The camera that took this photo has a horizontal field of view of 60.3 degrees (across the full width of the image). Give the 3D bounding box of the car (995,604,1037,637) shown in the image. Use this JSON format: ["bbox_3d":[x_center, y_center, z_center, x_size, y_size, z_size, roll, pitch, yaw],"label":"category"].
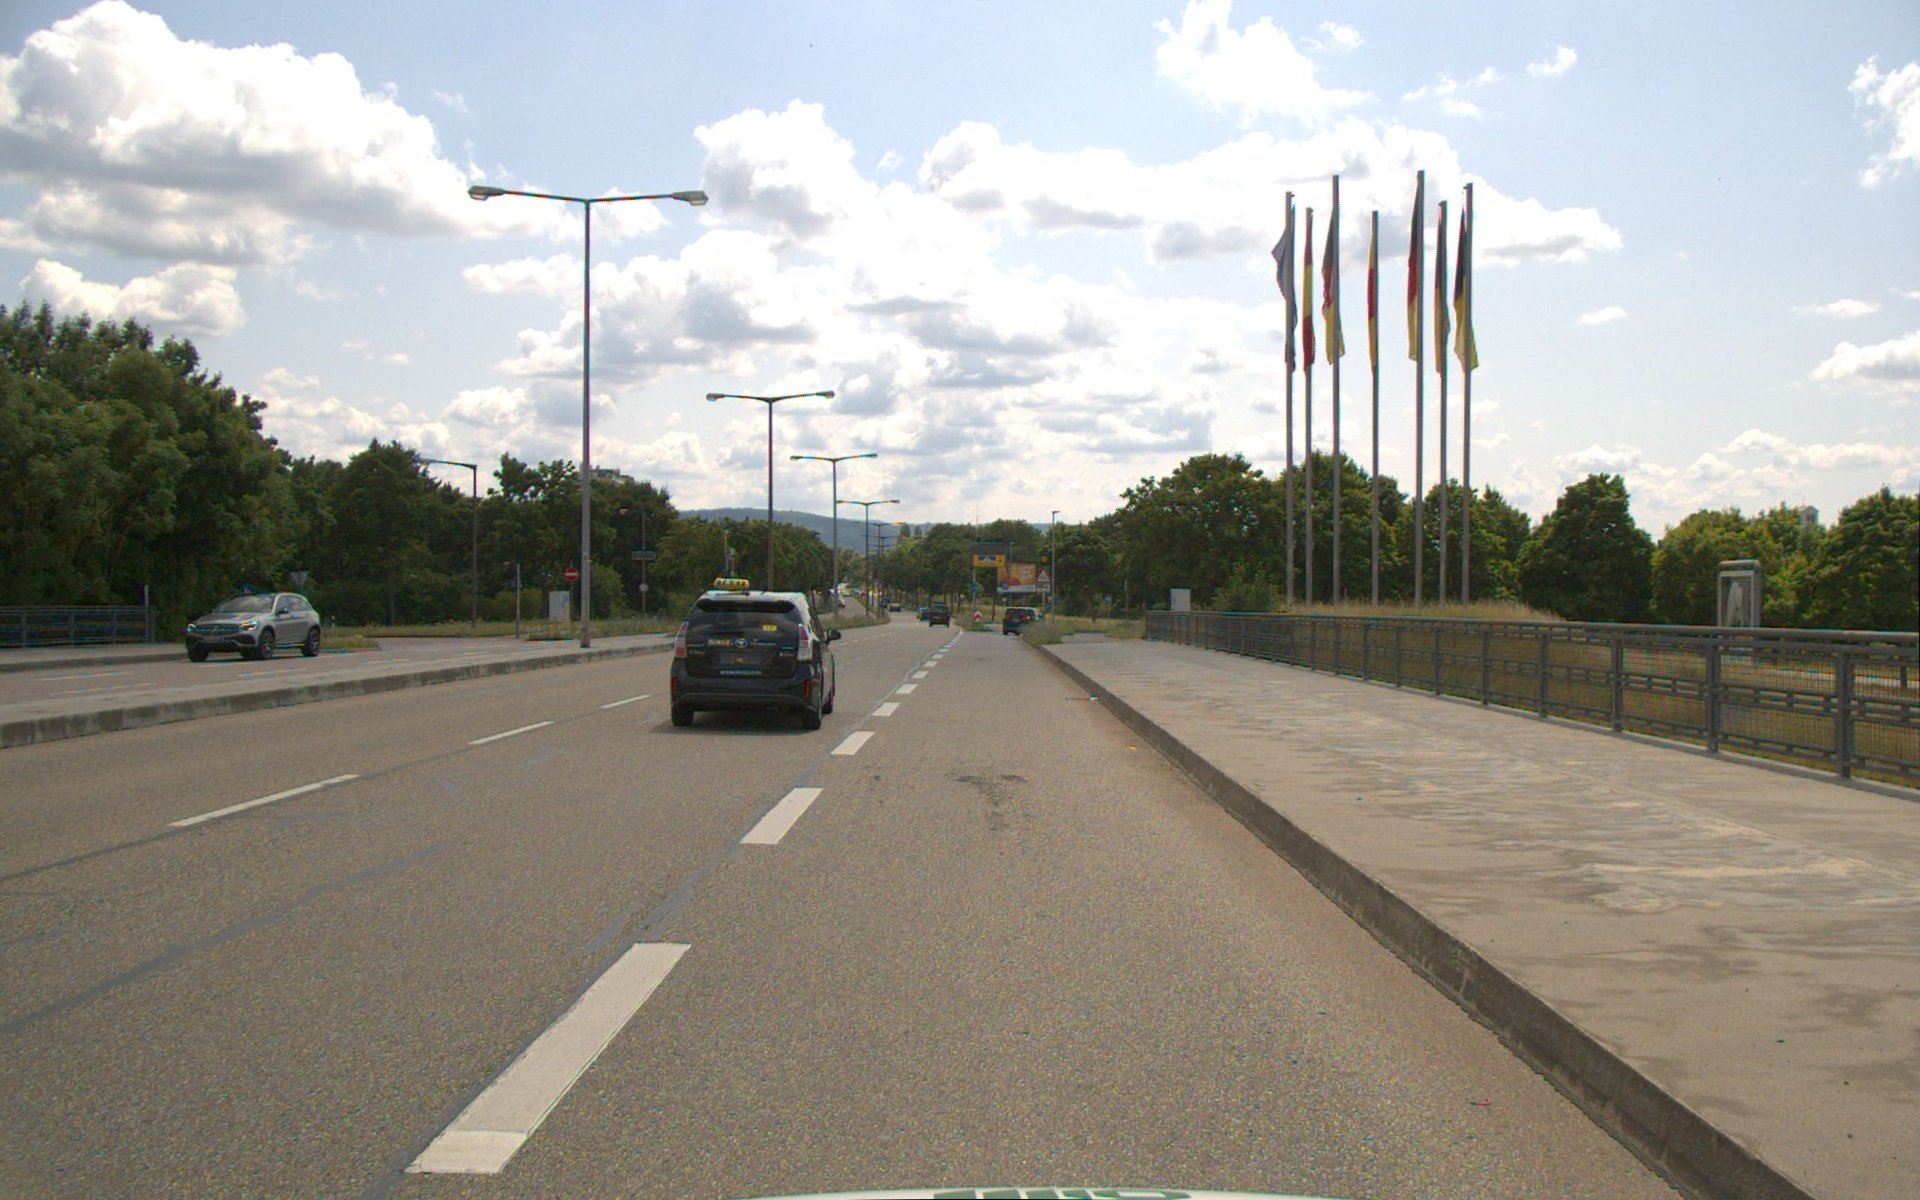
[{"bbox_3d":[3.065,1.105,91.232,1.954,1.691,3.998,2,1,-3],"label":"car"}]

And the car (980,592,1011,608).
[{"bbox_3d":[3.926,0.008,182.015,1.966,1.691,3.974,1,1,-22],"label":"car"}]

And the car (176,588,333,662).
[{"bbox_3d":[-17.600,0.577,41.527,2.046,1.655,4.549,2,1,-1],"label":"car"}]

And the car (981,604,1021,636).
[{"bbox_3d":[2.365,1.131,96.090,1.954,1.691,3.998,2,1,-3],"label":"car"}]

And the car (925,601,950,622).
[{"bbox_3d":[-1.938,0.973,141.453,1.954,1.691,3.998,2,1,-3],"label":"car"}]

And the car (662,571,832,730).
[{"bbox_3d":[-2.494,0.525,20.202,1.744,1.713,3.998,2,1,-4],"label":"car"}]
